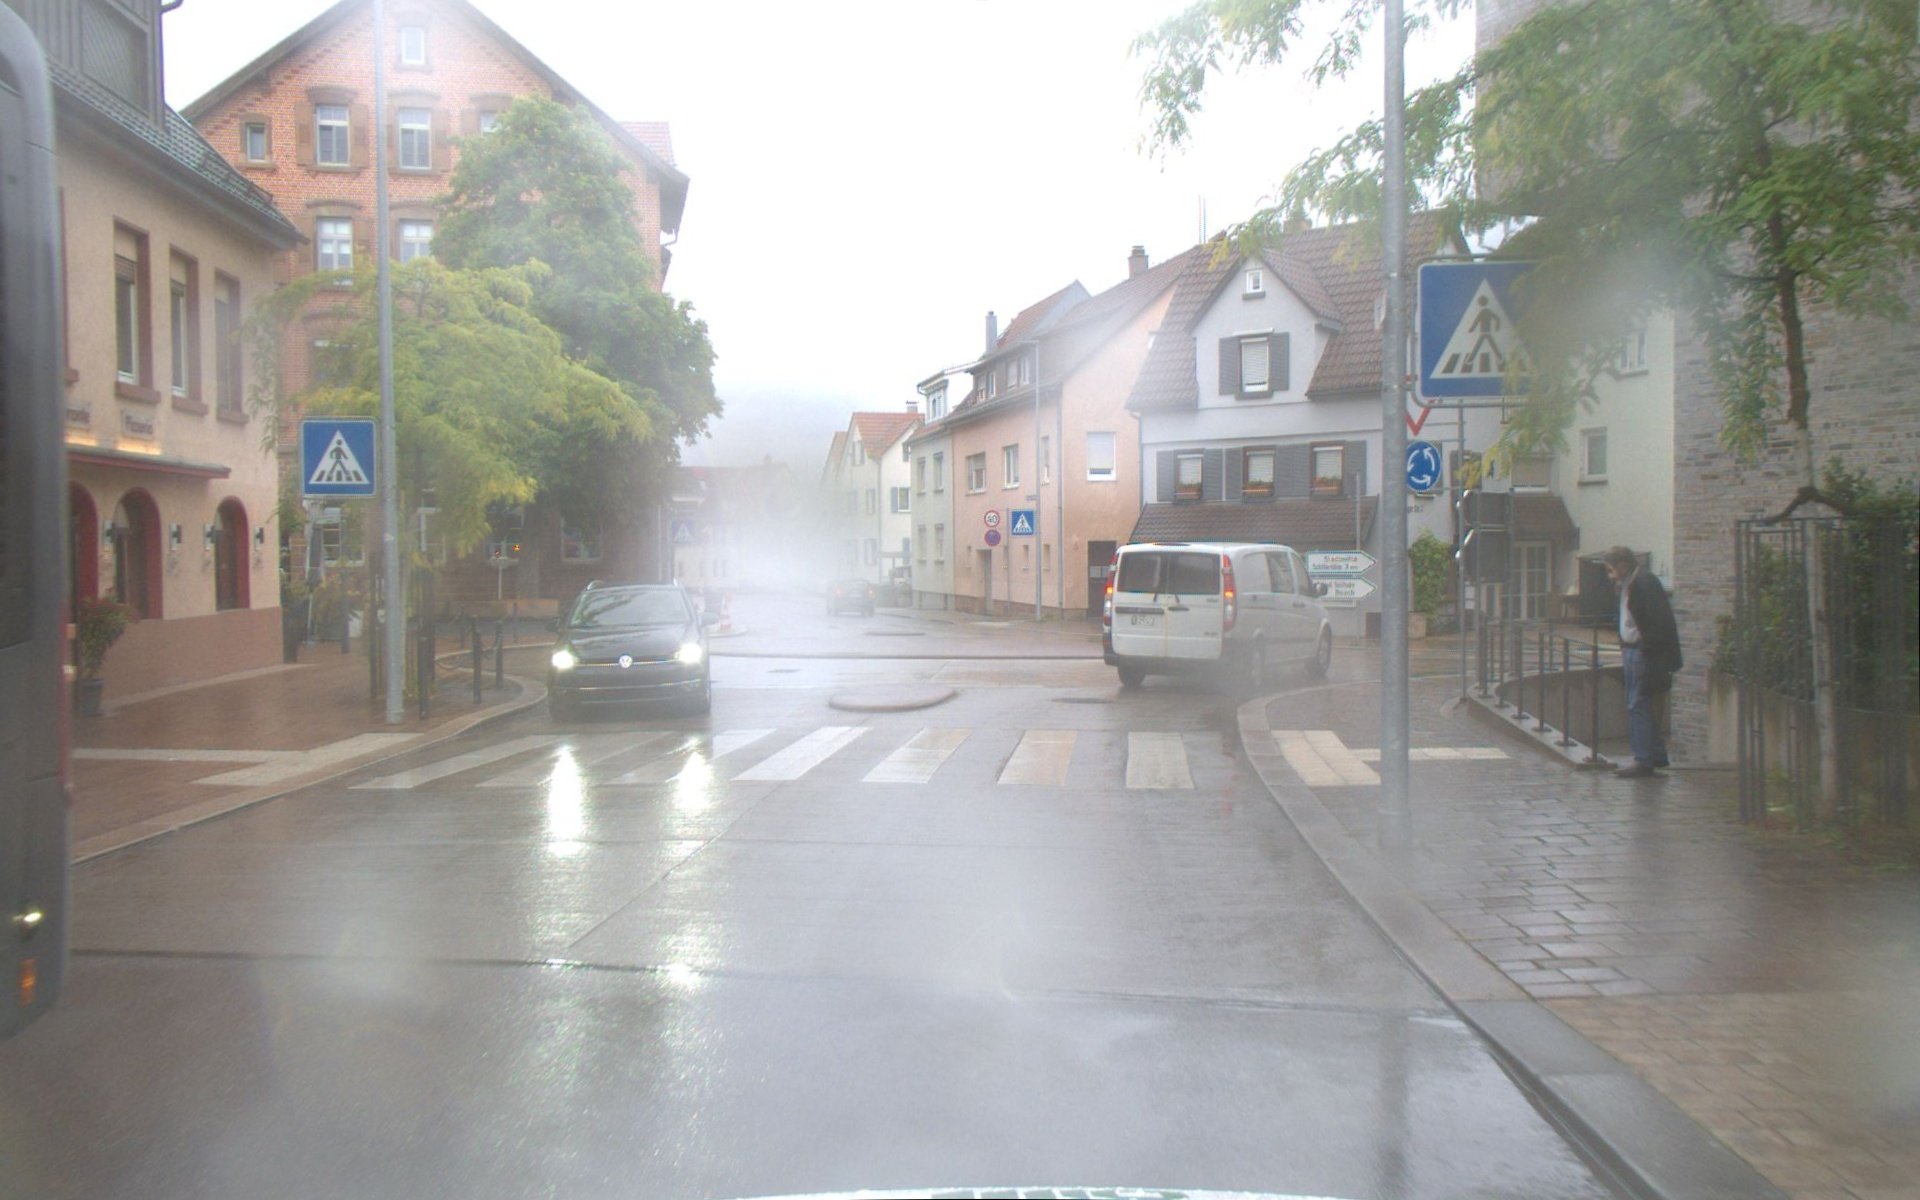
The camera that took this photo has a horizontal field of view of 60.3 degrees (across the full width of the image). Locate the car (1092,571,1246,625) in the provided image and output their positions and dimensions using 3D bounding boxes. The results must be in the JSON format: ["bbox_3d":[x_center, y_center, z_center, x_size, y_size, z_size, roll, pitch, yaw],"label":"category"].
[{"bbox_3d":[5.988,-0.061,47.507,3.924,1.512,1.990,0,0,-17],"label":"car"}]

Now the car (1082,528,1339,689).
[{"bbox_3d":[3.553,0.109,22.558,2.110,1.932,4.921,0,0,26],"label":"car"}]

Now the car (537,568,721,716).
[{"bbox_3d":[-3.832,0.400,19.797,1.752,1.534,4.463,-1,1,-6],"label":"car"}]

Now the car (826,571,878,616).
[{"bbox_3d":[-4.253,-0.237,65.503,1.933,1.709,4.066,0,0,-2],"label":"car"}]

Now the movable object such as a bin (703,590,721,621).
[{"bbox_3d":[-9.901,0.216,65.901,0.616,1.193,0.758,1,0,-15],"label":"movable object such as a bin"}]

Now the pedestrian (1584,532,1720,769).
[{"bbox_3d":[4.980,0.350,11.925,0.572,1.634,0.702,-2,0,-10],"label":"pedestrian"}]

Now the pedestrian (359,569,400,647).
[{"bbox_3d":[-14.414,0.201,41.090,0.825,1.919,0.822,1,0,-12],"label":"pedestrian"}]
